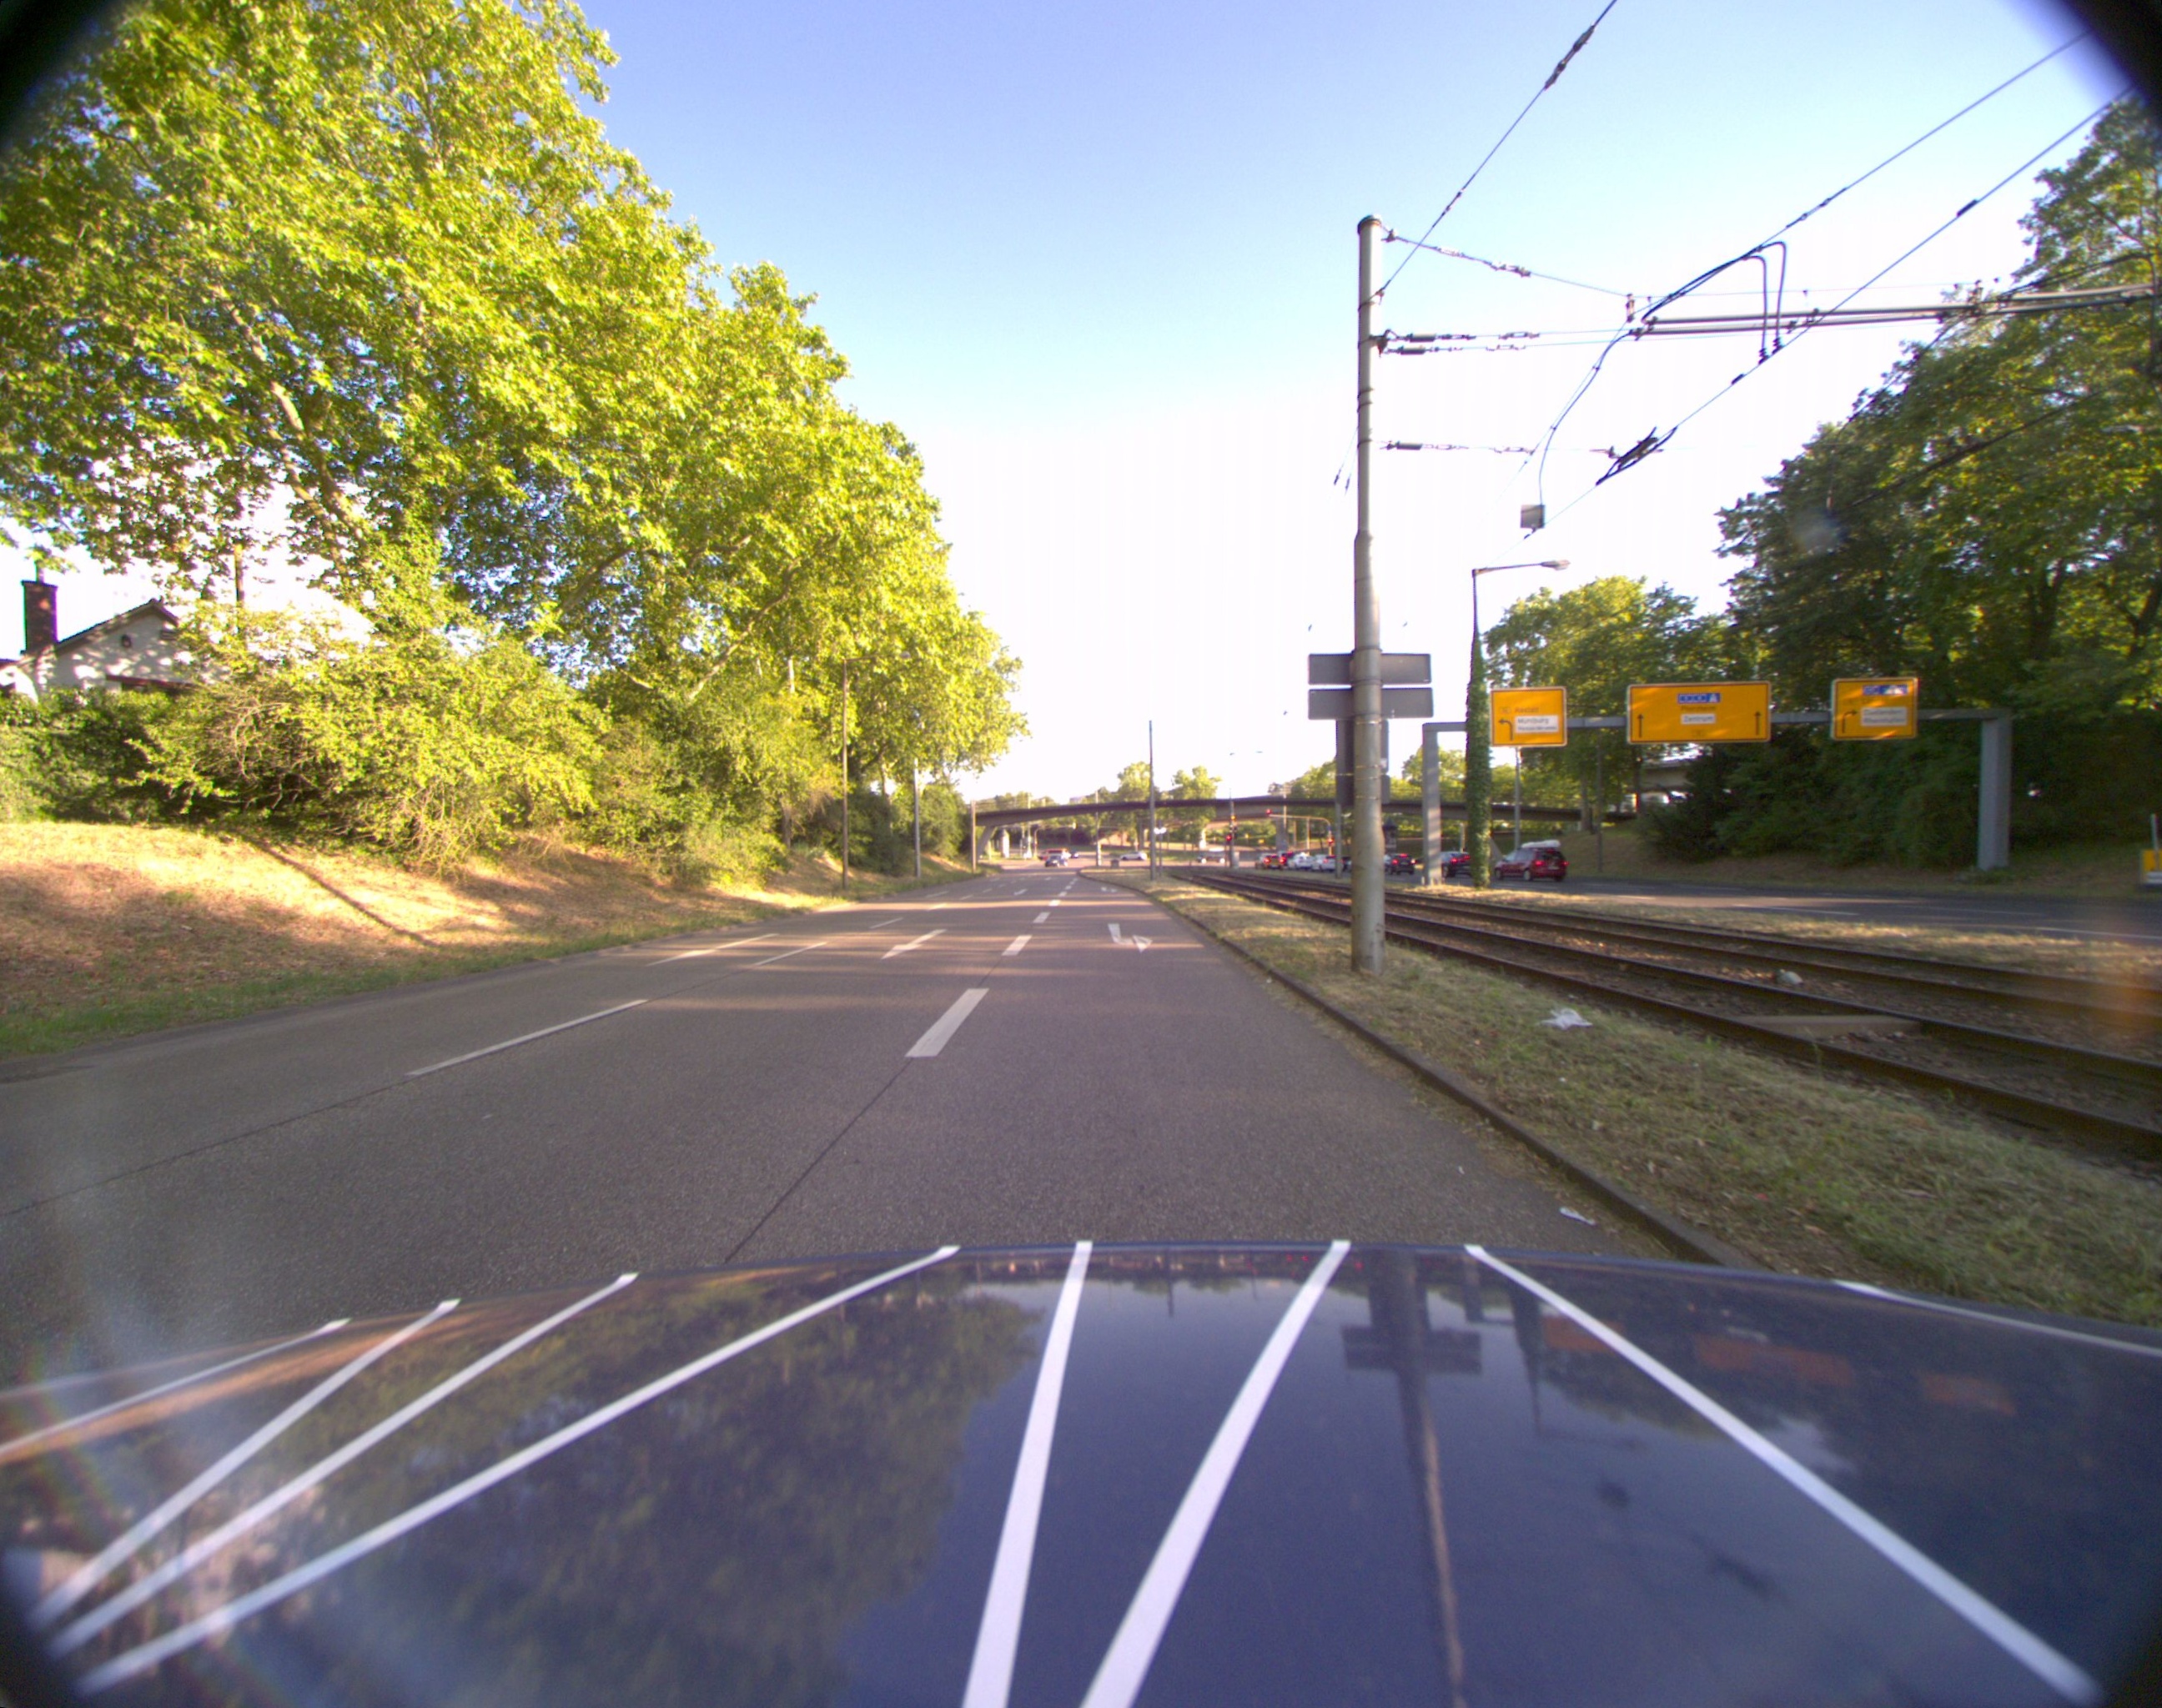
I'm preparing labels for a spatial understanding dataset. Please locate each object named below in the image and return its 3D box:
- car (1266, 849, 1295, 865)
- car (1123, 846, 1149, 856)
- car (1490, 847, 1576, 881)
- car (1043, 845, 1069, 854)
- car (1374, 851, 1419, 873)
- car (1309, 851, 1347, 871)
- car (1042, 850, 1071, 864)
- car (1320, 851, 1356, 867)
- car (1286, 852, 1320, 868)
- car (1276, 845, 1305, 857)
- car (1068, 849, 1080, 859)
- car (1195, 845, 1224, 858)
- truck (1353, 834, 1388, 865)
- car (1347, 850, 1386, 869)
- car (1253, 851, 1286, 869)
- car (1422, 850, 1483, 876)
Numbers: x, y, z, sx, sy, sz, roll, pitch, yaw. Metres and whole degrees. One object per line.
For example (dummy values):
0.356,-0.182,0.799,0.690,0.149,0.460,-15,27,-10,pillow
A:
19.584,0.251,74.741,1.917,1.540,4.227,-1,0,4,car
8.873,-0.498,123.051,3.785,1.491,1.766,-2,1,18,car
23.173,0.467,39.127,1.842,1.625,4.311,0,0,0,car
-4.249,-0.704,128.403,3.868,1.403,1.814,-2,1,20,car
23.172,0.550,55.982,1.755,1.548,3.973,0,0,1,car
20.029,0.529,61.805,1.767,1.535,4.000,-1,0,0,car
-2.953,0.338,92.108,1.759,1.490,3.799,-2,1,29,car
23.740,0.471,70.208,1.868,1.416,4.226,-1,0,0,car
19.925,0.515,68.341,1.918,1.416,4.227,-1,0,2,car
30.647,-0.500,111.040,3.804,1.570,1.679,-2,1,24,car
-1.252,0.011,141.879,1.905,1.726,3.998,-2,0,-5,car
18.681,-0.326,110.388,3.814,1.755,1.675,-3,1,-14,car
28.385,-0.454,74.798,2.281,2.862,6.886,-1,0,13,truck
24.011,0.449,64.071,1.813,1.535,4.000,-1,0,1,car
16.150,0.494,65.235,1.767,1.535,4.000,-1,0,0,car
22.966,0.507,47.188,1.735,1.536,4.334,-1,0,1,car
